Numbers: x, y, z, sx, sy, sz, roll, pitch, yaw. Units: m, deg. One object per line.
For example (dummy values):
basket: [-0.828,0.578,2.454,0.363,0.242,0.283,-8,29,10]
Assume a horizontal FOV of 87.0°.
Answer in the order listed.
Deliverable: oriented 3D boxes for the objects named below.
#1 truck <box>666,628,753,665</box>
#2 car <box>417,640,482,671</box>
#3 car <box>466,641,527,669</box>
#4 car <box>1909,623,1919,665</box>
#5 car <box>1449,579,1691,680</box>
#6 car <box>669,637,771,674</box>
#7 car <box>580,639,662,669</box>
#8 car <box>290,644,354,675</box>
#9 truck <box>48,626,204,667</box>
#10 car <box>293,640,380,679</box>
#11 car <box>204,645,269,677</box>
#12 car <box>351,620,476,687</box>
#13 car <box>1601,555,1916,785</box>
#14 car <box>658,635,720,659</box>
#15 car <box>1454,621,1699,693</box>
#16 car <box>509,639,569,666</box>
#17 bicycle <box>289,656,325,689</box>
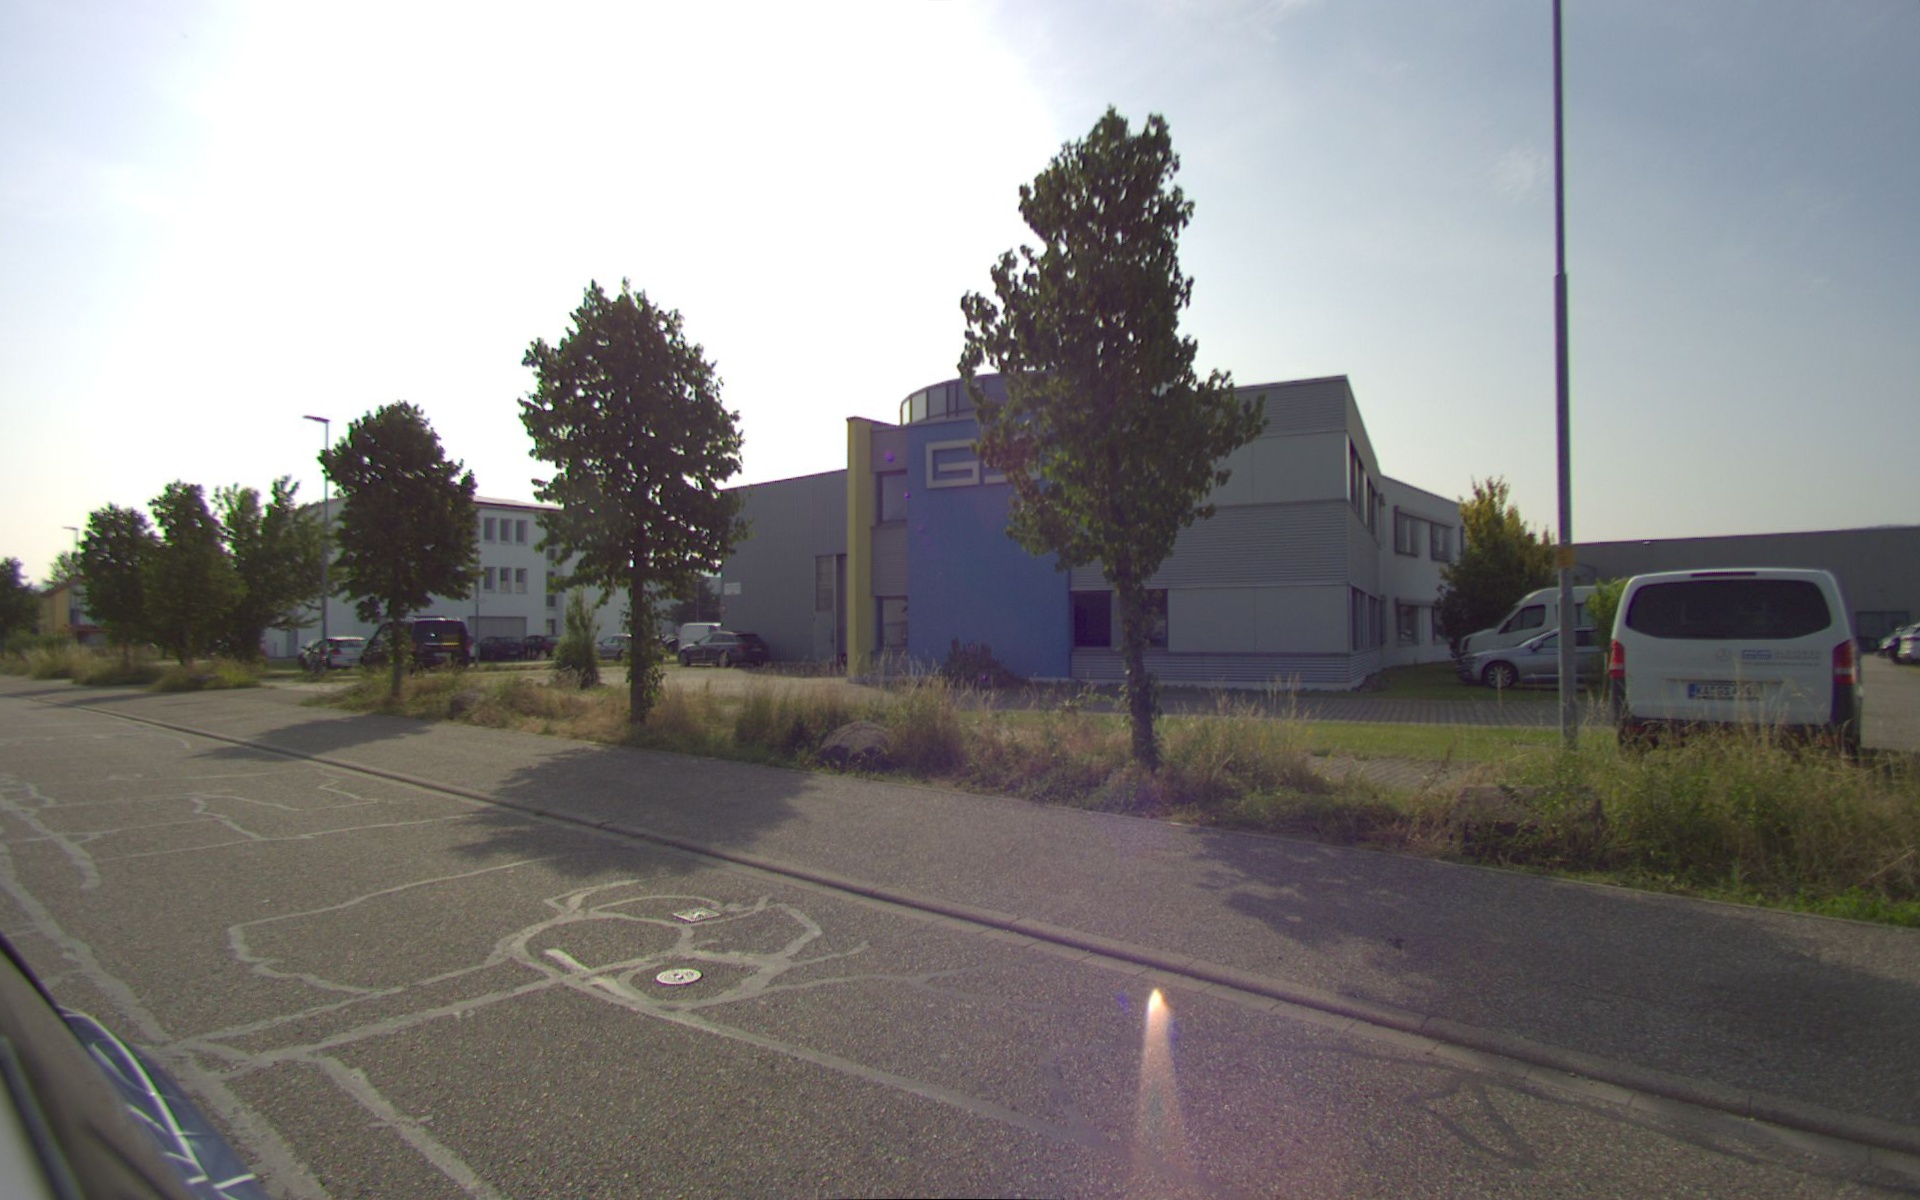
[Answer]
truck: [-13.606,2.499,54.829,4.945,1.918,1.974,-2,-3,38]
car: [-27.921,3.008,55.323,3.917,1.631,1.885,-3,-3,42]
car: [-26.243,3.103,57.222,3.917,1.479,1.736,-3,-3,42]
car: [38.930,1.688,38.468,4.153,1.625,1.820,-1,-2,44]
car: [17.282,0.847,29.065,5.716,2.715,1.697,-1,-2,24]
car: [-10.103,2.321,42.391,4.778,1.472,1.697,-3,-3,41]
car: [-16.842,2.673,50.236,4.375,1.383,1.716,-2,-3,37]
car: [-32.061,2.968,50.833,3.917,1.479,1.736,-3,-3,42]
truck: [-62.774,3.612,76.488,2.500,2.855,8.769,-1,-4,24]
car: [-24.926,2.364,40.406,3.913,1.460,1.768,-2,-3,39]
car: [-34.452,2.882,48.162,3.917,1.420,1.736,-3,-3,42]
car: [-17.723,1.727,32.720,4.987,2.029,1.862,-3,-4,41]
car: [8.378,0.635,10.625,2.101,1.850,4.656,-2,-3,40]
car: [-17.992,3.111,67.115,4.562,1.479,1.736,-3,-3,42]
car: [13.601,1.233,22.663,4.498,1.492,1.566,-1,-2,25]
car: [-24.474,3.043,58.816,3.917,1.479,1.736,-3,-3,42]
bicycle: [-20.044,2.212,31.070,1.871,0.986,0.534,-3,-3,45]
